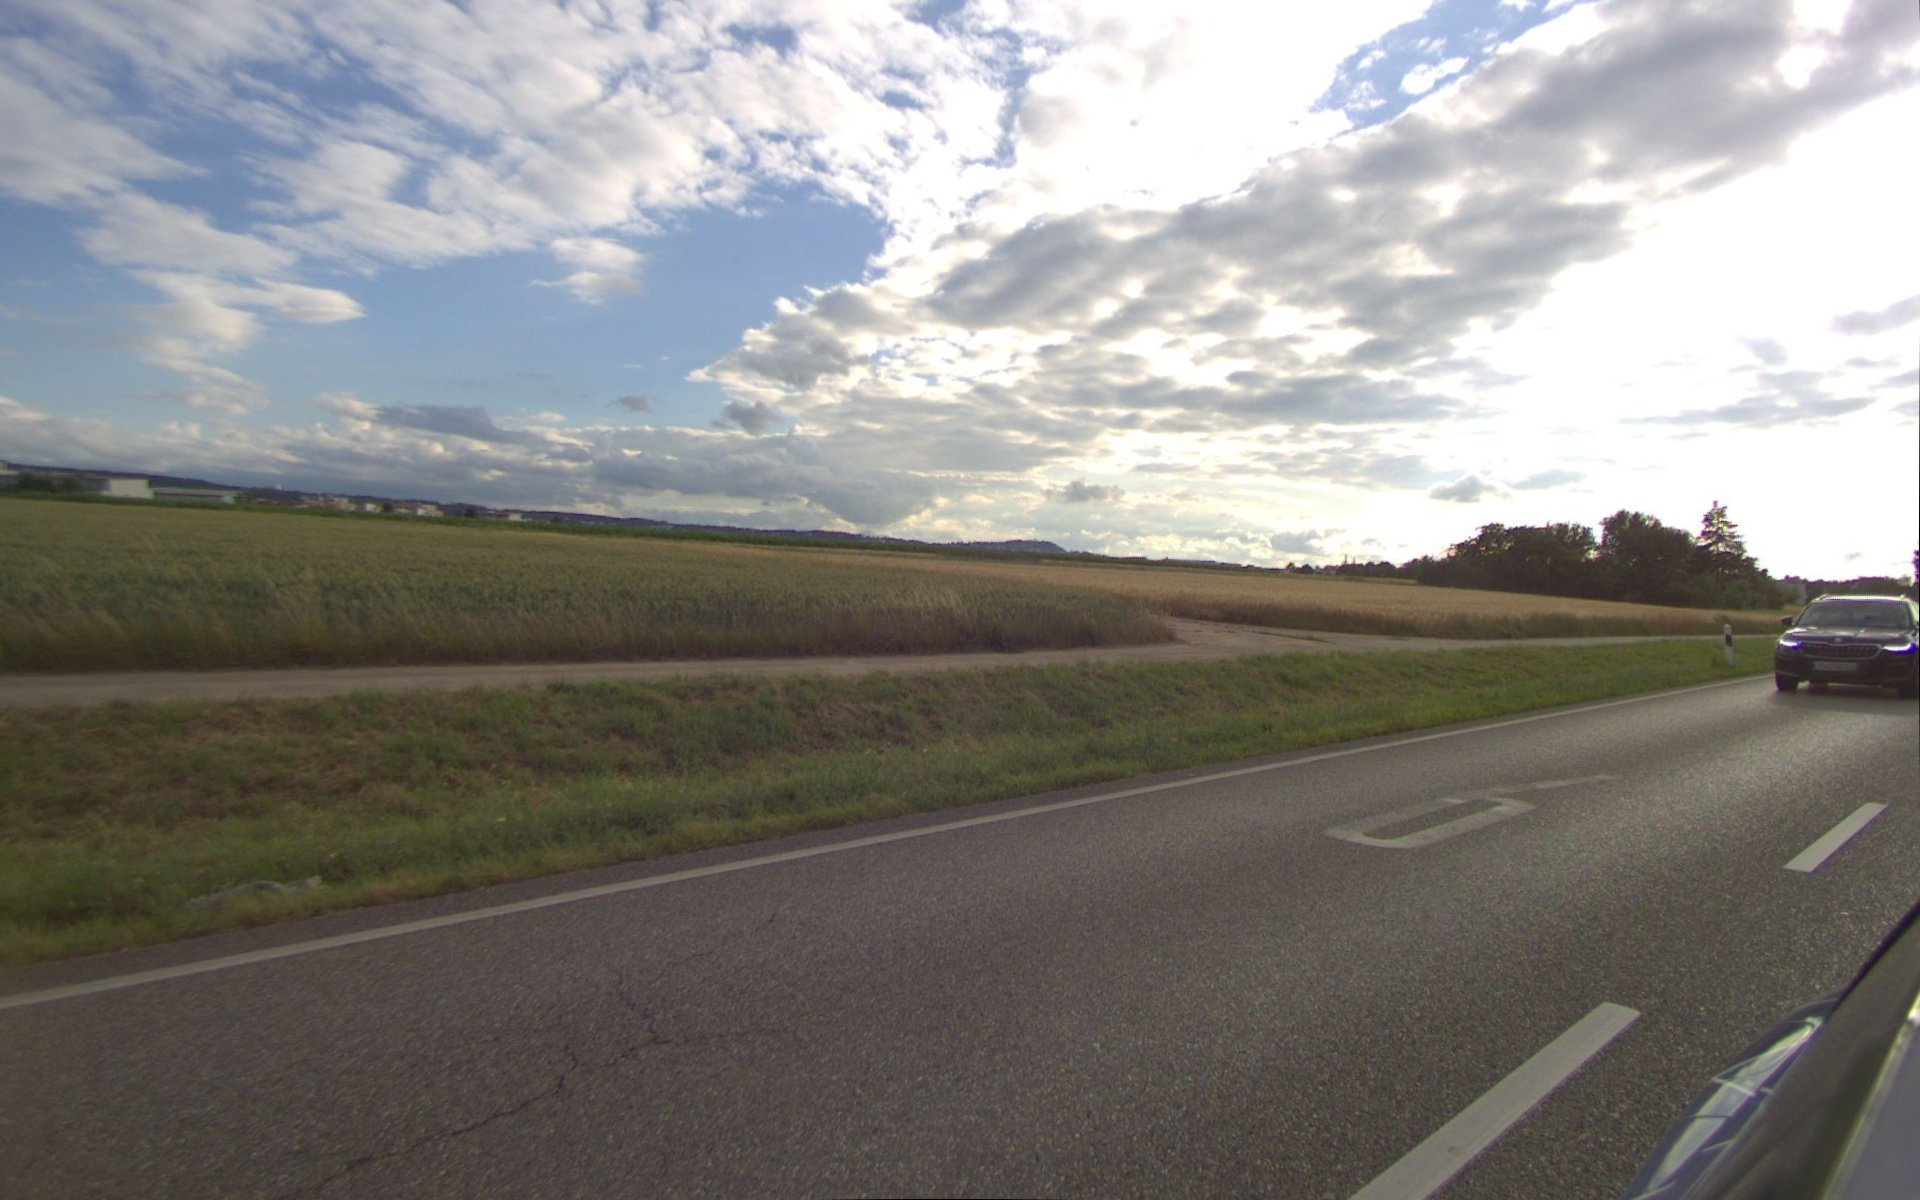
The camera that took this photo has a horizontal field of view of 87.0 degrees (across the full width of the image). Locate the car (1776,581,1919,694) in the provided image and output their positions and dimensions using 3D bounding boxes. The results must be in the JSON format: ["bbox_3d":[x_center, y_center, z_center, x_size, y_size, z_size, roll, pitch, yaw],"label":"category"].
[{"bbox_3d":[15.860,0.543,17.588,4.477,1.730,1.840,-1,1,-41],"label":"car"}]
